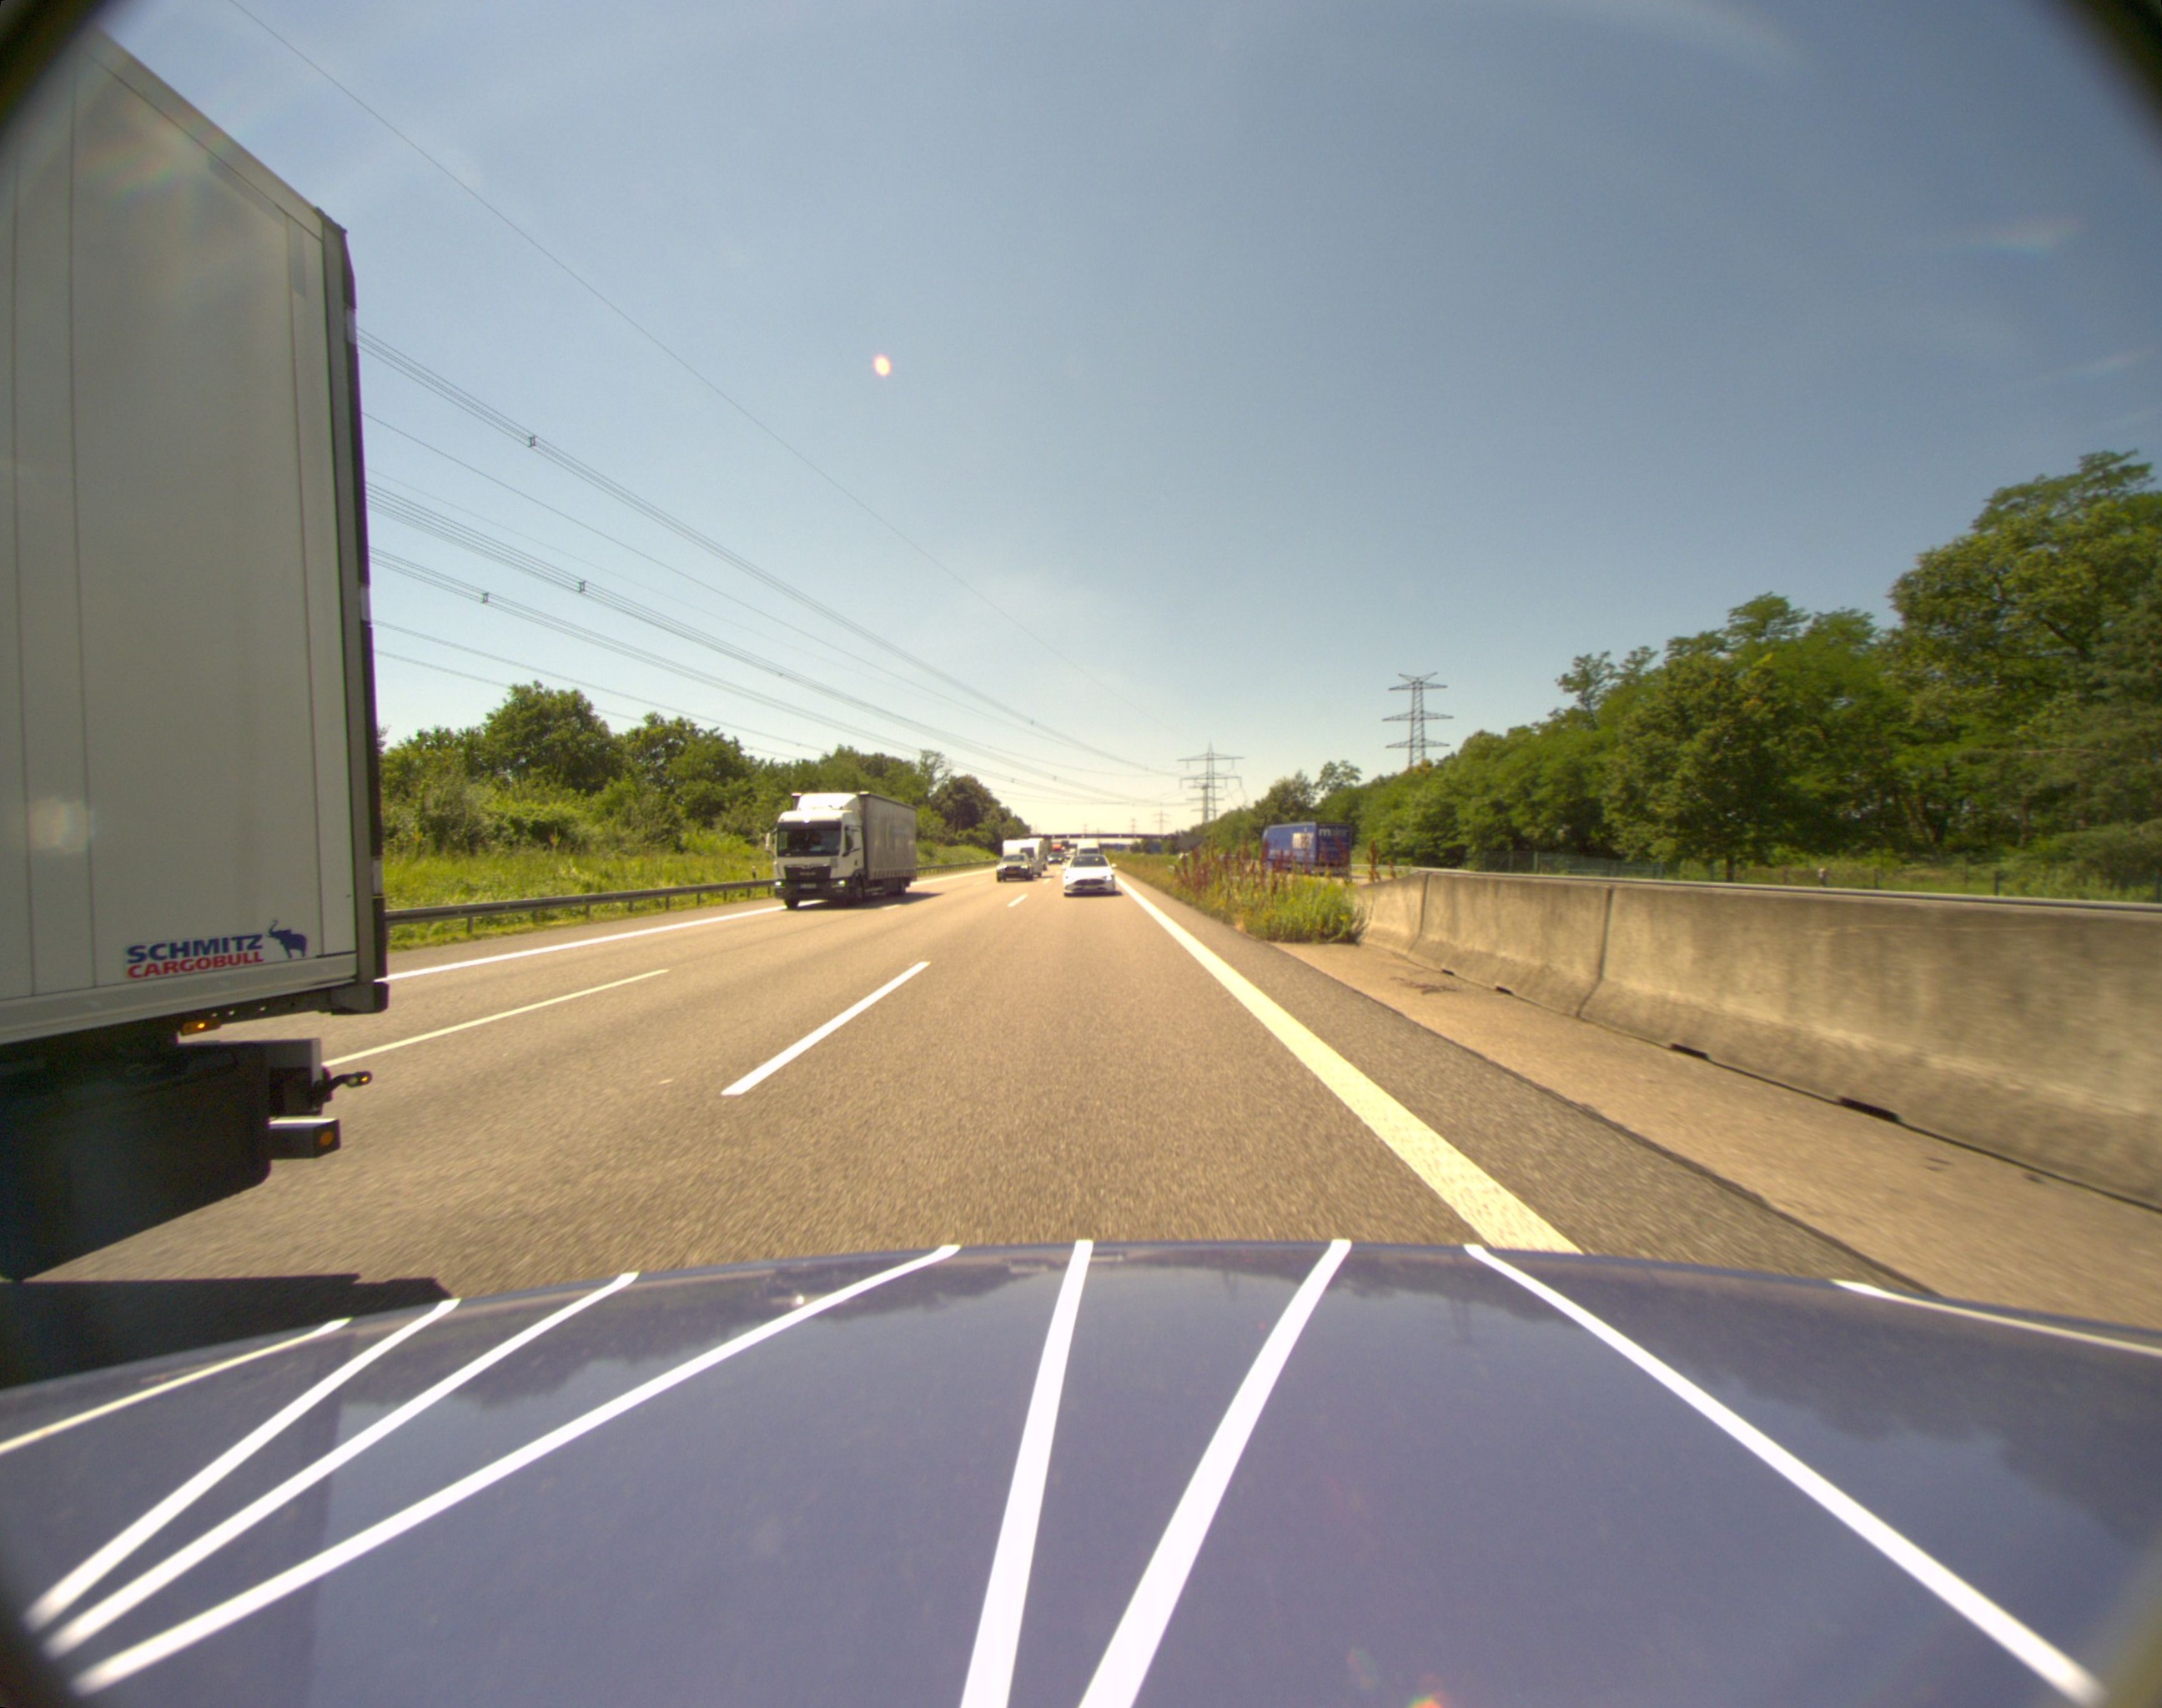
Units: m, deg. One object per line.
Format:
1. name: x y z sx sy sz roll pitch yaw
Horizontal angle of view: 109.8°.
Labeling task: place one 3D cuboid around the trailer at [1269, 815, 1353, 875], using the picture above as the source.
1. trailer: 17.813 -0.668 60.117 2.478 4.107 13.464 2 1 0

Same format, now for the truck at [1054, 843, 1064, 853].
1. truck: -6.485 -1.702 222.521 2.619 2.801 6.593 0 0 1

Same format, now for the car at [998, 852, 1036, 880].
1. car: -3.694 0.687 44.449 1.788 1.520 4.104 -1 0 1

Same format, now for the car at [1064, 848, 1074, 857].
1. car: -2.494 -0.394 164.125 1.998 2.002 4.000 0 1 1

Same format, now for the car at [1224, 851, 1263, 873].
1. car: 11.269 0.521 52.984 1.757 1.430 4.543 2 0 1

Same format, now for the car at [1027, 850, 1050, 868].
1. car: -3.747 0.449 67.061 1.803 1.533 3.806 0 0 0

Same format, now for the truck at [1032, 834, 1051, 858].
1. truck: -6.501 -1.352 126.742 2.584 3.704 8.279 -2 1 0

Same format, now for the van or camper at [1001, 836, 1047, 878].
1. van or camper: -3.633 0.175 49.736 2.411 2.483 6.431 -1 0 1

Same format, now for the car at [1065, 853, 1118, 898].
1. car: 0.374 0.727 27.937 1.788 1.462 3.999 -2 1 1

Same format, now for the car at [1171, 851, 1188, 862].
1. car: 13.446 0.280 103.549 1.811 1.440 4.000 0 1 1

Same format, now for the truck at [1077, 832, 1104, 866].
1. truck: 0.825 -0.450 68.339 2.192 2.841 5.503 -3 0 1

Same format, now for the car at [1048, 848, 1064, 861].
1. car: -3.380 0.016 103.295 1.904 1.662 4.000 -2 0 1

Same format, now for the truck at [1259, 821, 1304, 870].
1. truck: 17.851 -0.740 68.021 2.473 4.110 5.683 2 1 1

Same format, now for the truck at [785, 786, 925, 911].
1. truck: -7.931 -0.195 28.196 1.987 3.750 10.042 -2 0 1
